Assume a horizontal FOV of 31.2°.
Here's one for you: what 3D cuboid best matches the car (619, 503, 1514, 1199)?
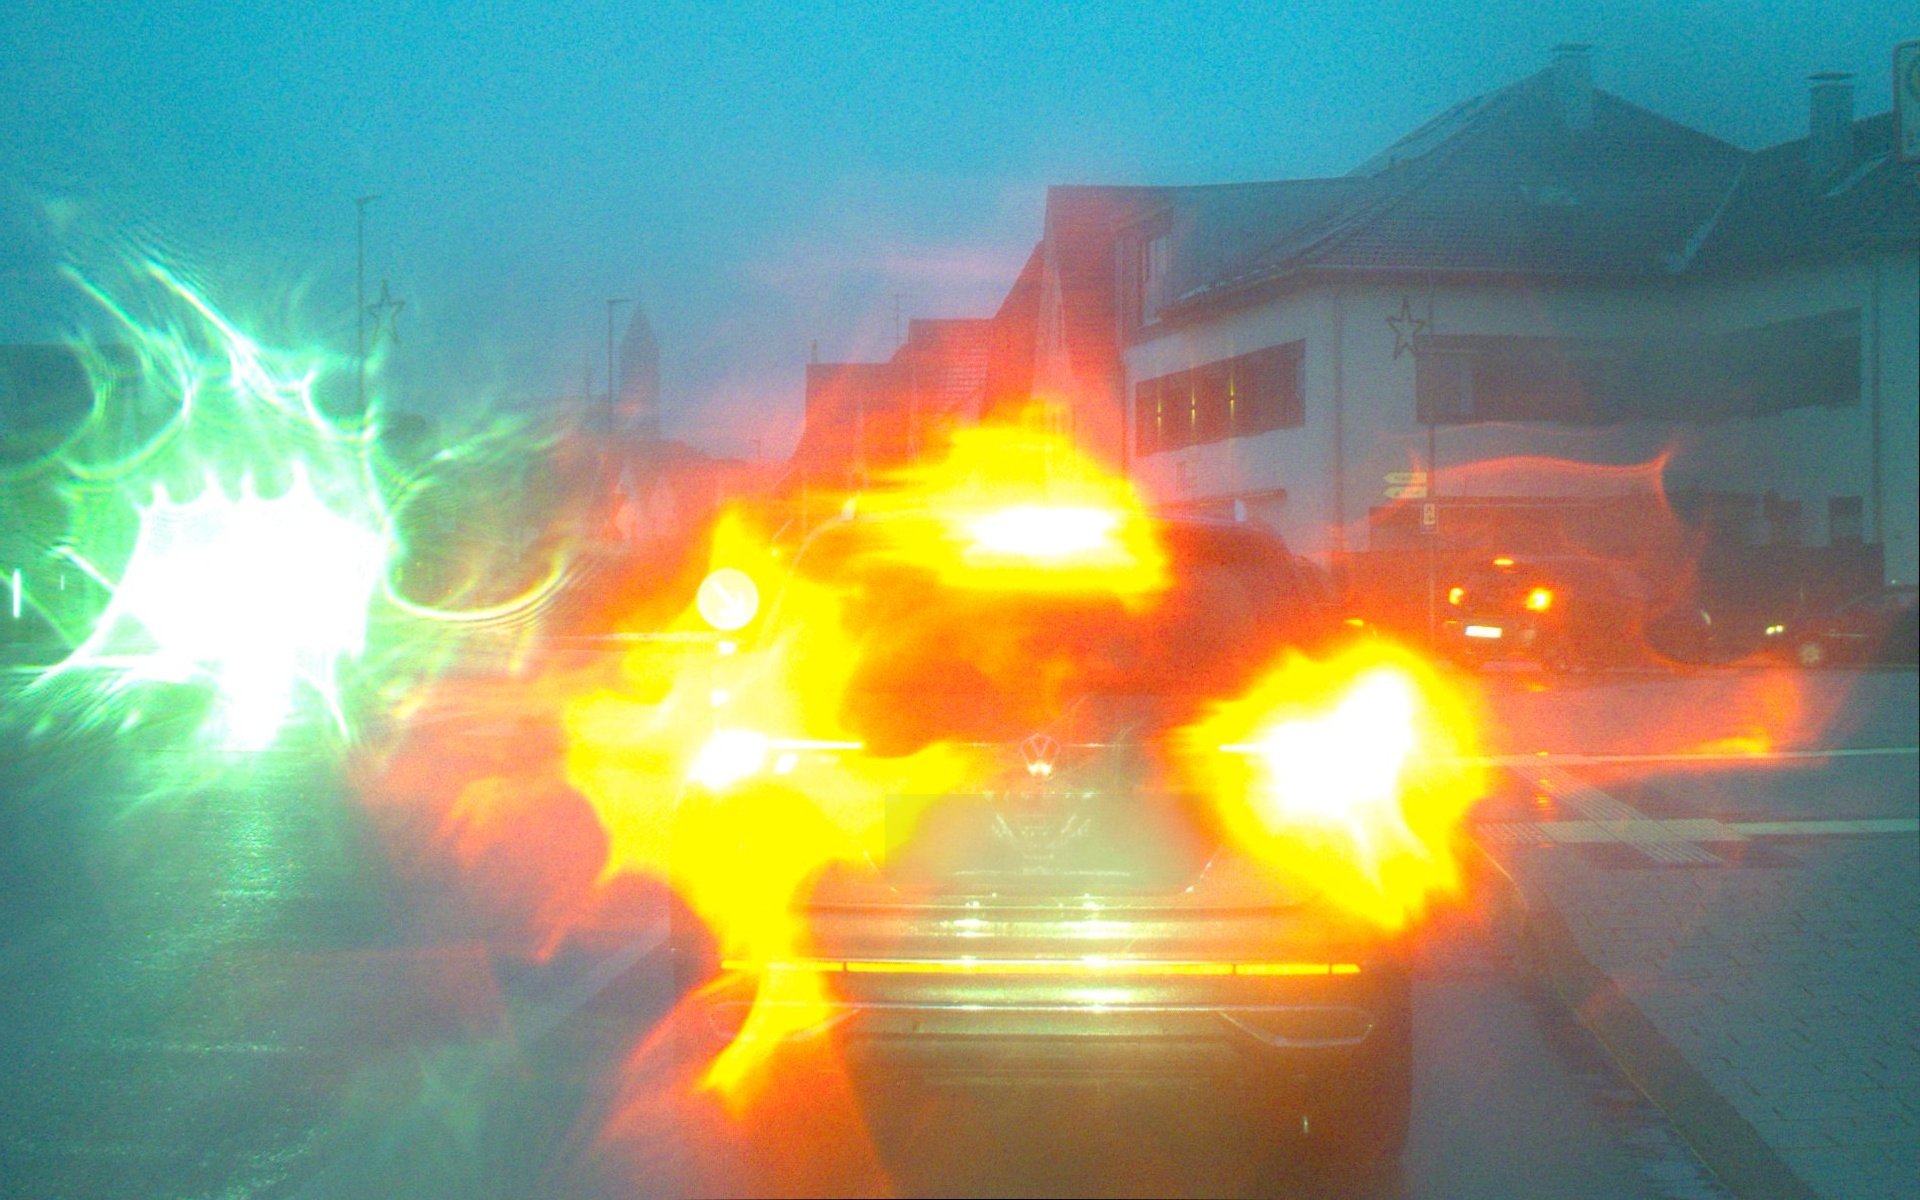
[{"bbox_3d":[0.252,0.560,9.814,1.964,1.589,4.313,1,1,0],"label":"car"}]

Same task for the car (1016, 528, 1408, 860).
[{"bbox_3d":[1.146,0.380,17.223,1.682,1.448,4.000,1,1,0],"label":"car"}]

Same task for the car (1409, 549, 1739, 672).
[{"bbox_3d":[7.643,0.120,42.593,3.989,1.413,1.999,-1,-1,-43],"label":"car"}]

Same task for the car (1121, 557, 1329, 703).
[{"bbox_3d":[2.778,0.265,35.301,1.994,1.387,3.999,0,1,6],"label":"car"}]

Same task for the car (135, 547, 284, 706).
[{"bbox_3d":[-11.042,0.363,50.804,1.993,2.196,4.419,2,0,-11],"label":"car"}]
